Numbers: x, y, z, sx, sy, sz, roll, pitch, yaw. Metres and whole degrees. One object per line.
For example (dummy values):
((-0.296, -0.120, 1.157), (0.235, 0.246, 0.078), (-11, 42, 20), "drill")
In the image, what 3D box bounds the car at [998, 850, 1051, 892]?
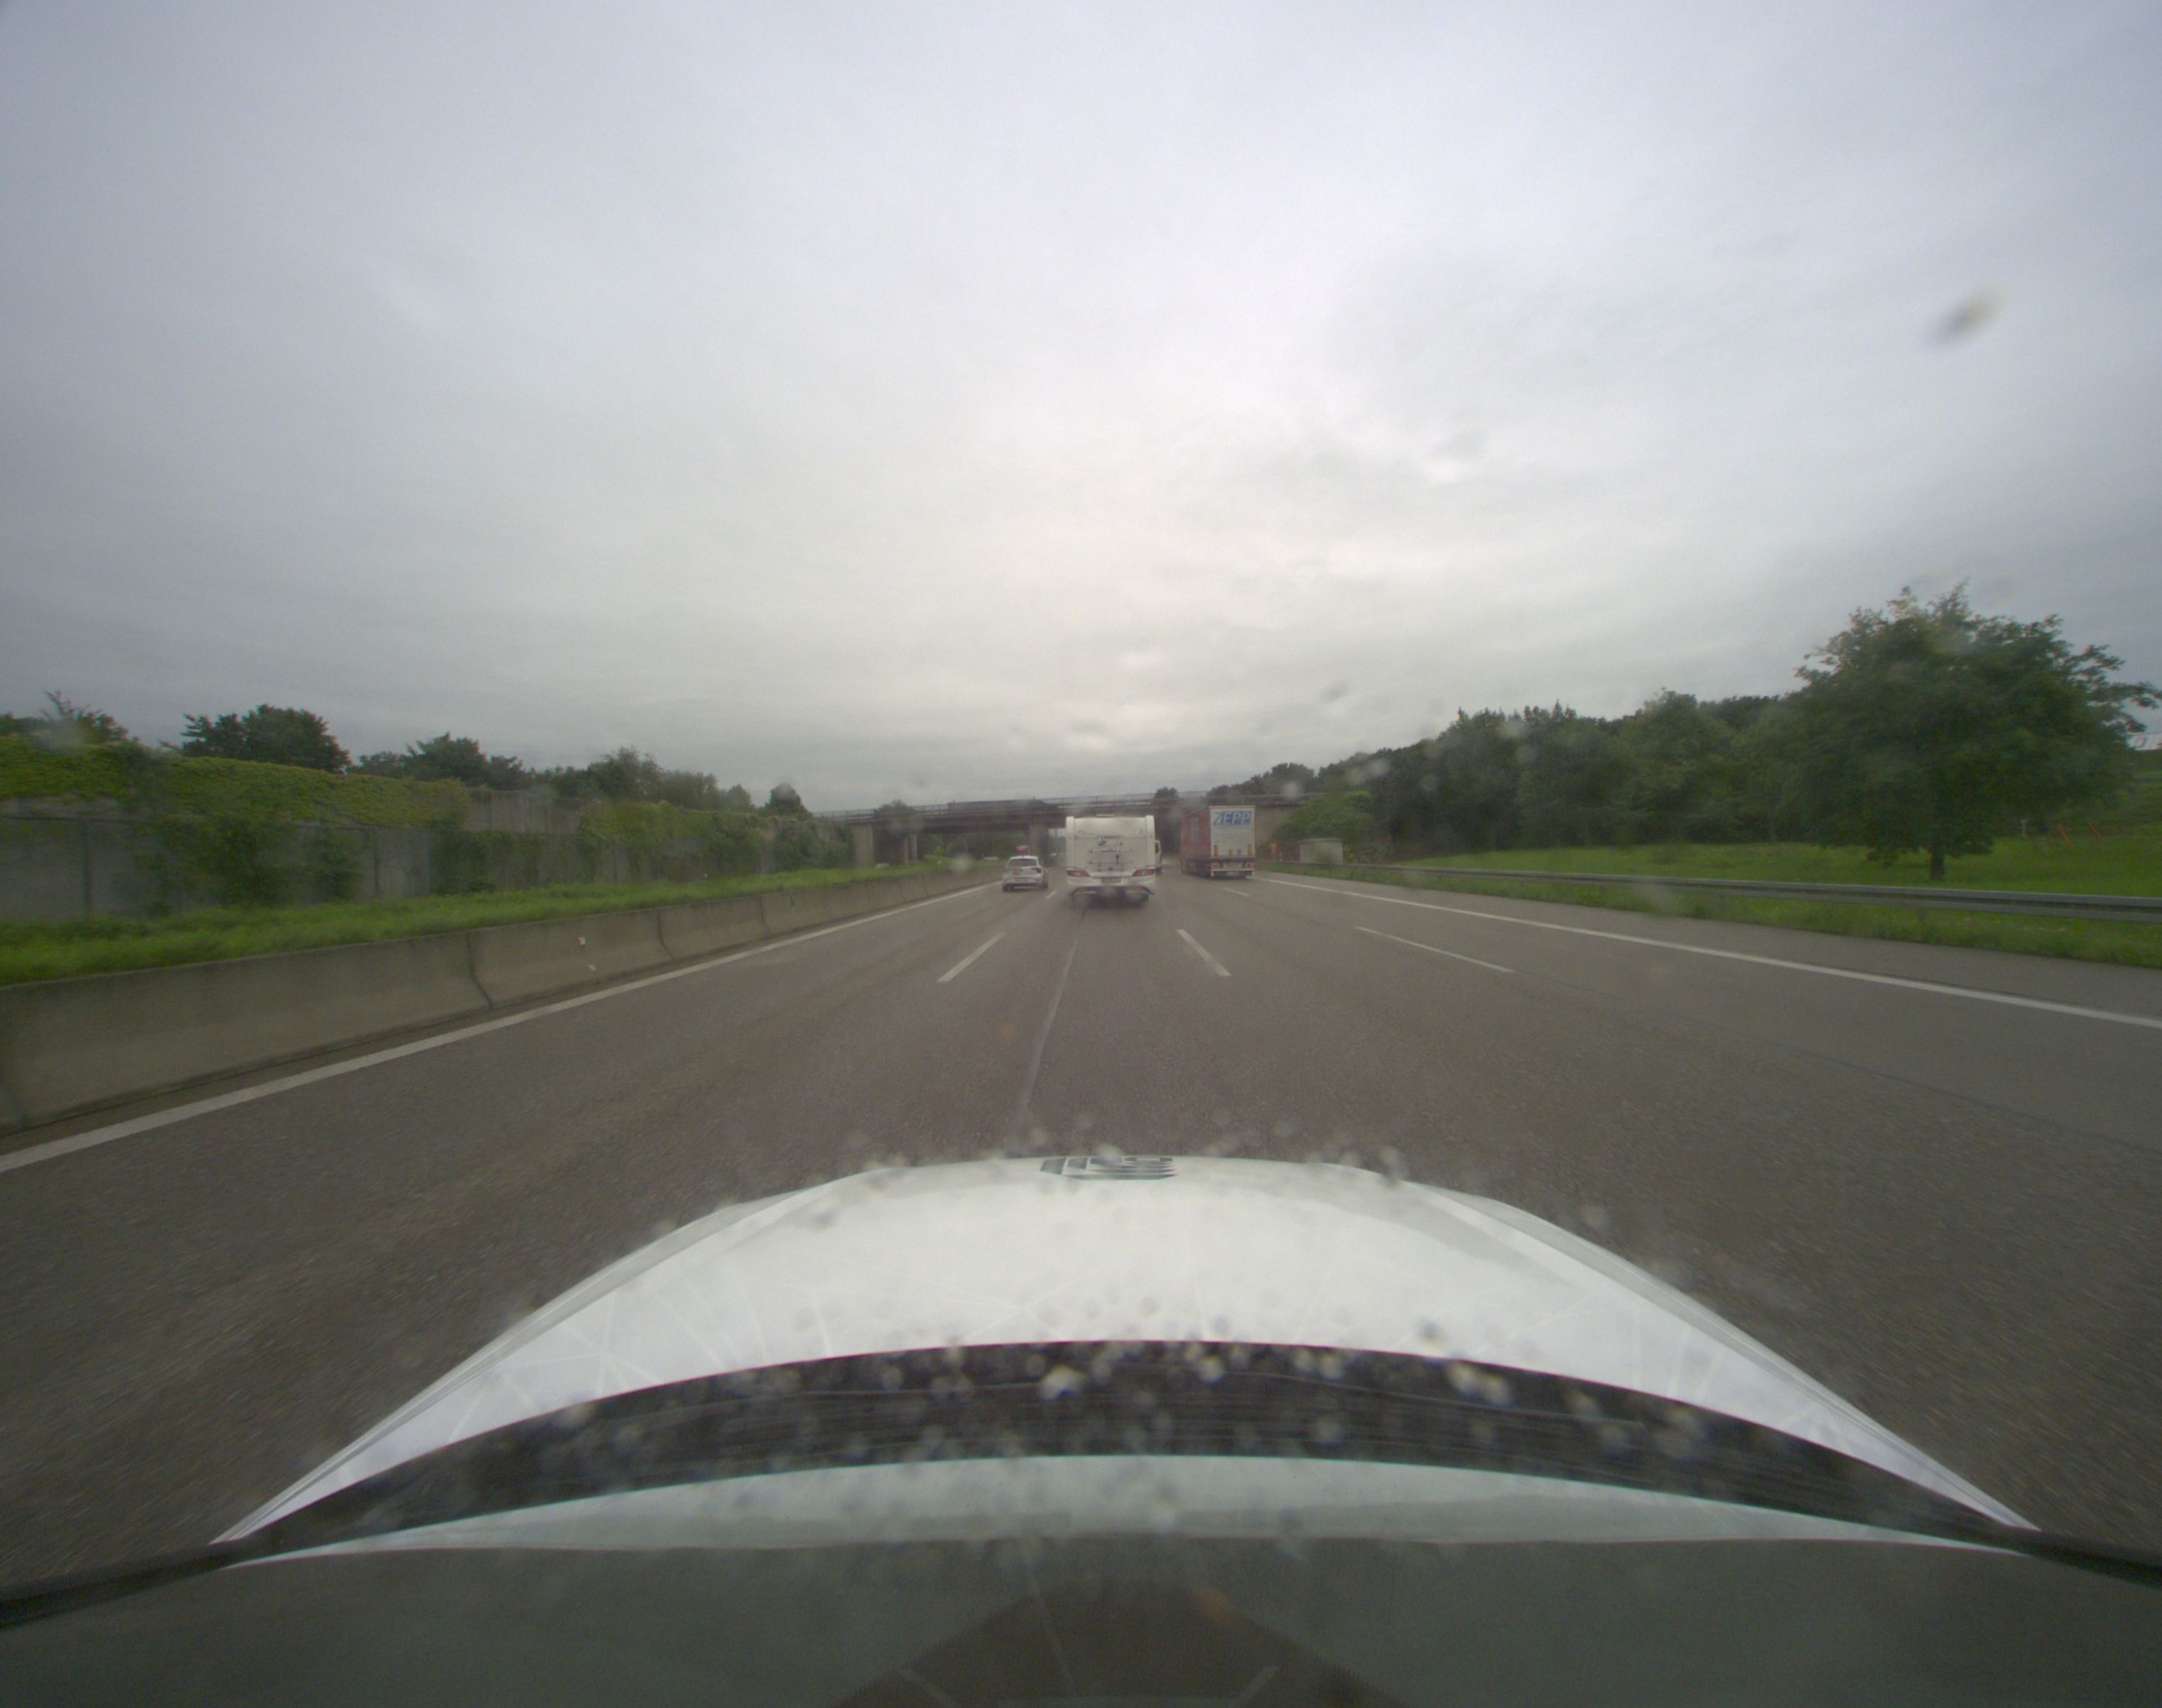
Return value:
((-2.340, 0.682, 34.821), (1.746, 1.618, 4.665), (-2, 0, 2), "car")

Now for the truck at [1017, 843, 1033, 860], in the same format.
((-13.147, -0.616, 192.419), (2.682, 3.851, 10.116), (-2, 0, 2), "truck")

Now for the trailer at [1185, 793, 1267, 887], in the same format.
((8.369, -0.721, 48.635), (3.088, 4.922, 11.794), (0, 0, 2), "trailer")

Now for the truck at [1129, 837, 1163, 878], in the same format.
((4.550, 0.247, 57.737), (2.046, 2.770, 5.550), (0, 0, 1), "truck")

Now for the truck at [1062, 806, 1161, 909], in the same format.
((0.888, 0.102, 24.503), (2.651, 2.742, 5.079), (0, 0, 1), "truck")

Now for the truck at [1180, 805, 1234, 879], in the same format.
((8.613, -0.771, 56.408), (3.037, 4.839, 5.853), (0, 0, 2), "truck")
